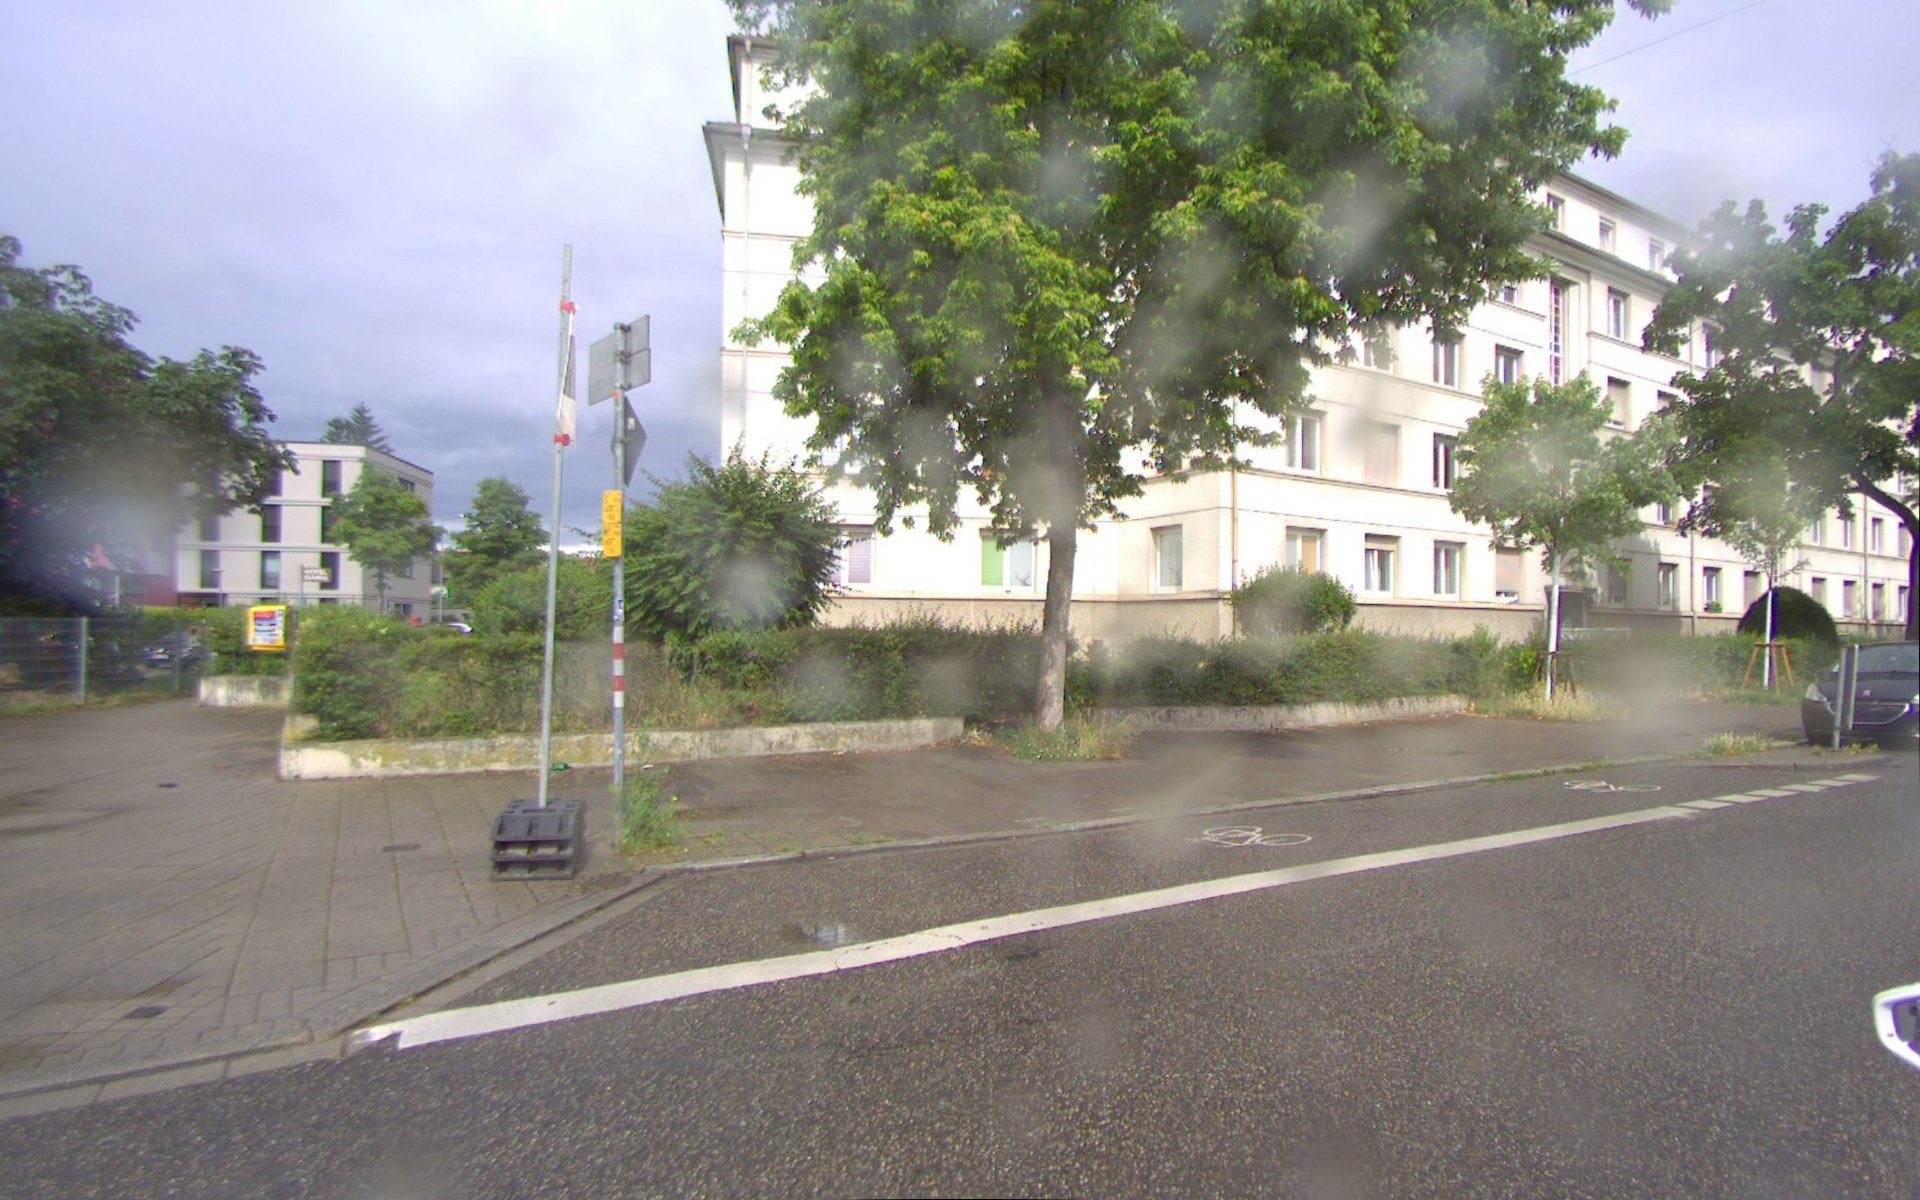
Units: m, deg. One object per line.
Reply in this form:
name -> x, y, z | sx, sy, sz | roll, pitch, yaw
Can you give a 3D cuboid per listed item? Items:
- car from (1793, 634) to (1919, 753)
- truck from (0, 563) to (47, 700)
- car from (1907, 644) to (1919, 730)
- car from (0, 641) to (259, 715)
car -> 13.768, 1.277, 14.447 | 4.020, 1.525, 1.577 | 2, -3, -33
truck -> -23.715, 0.582, 20.054 | 3.727, 3.226, 9.821 | 1, -3, -13
car -> 18.052, 1.478, 17.301 | 4.009, 1.436, 1.577 | 2, -3, -33
car -> -17.322, 1.599, 20.967 | 4.046, 1.461, 1.702 | 0, -3, -7
